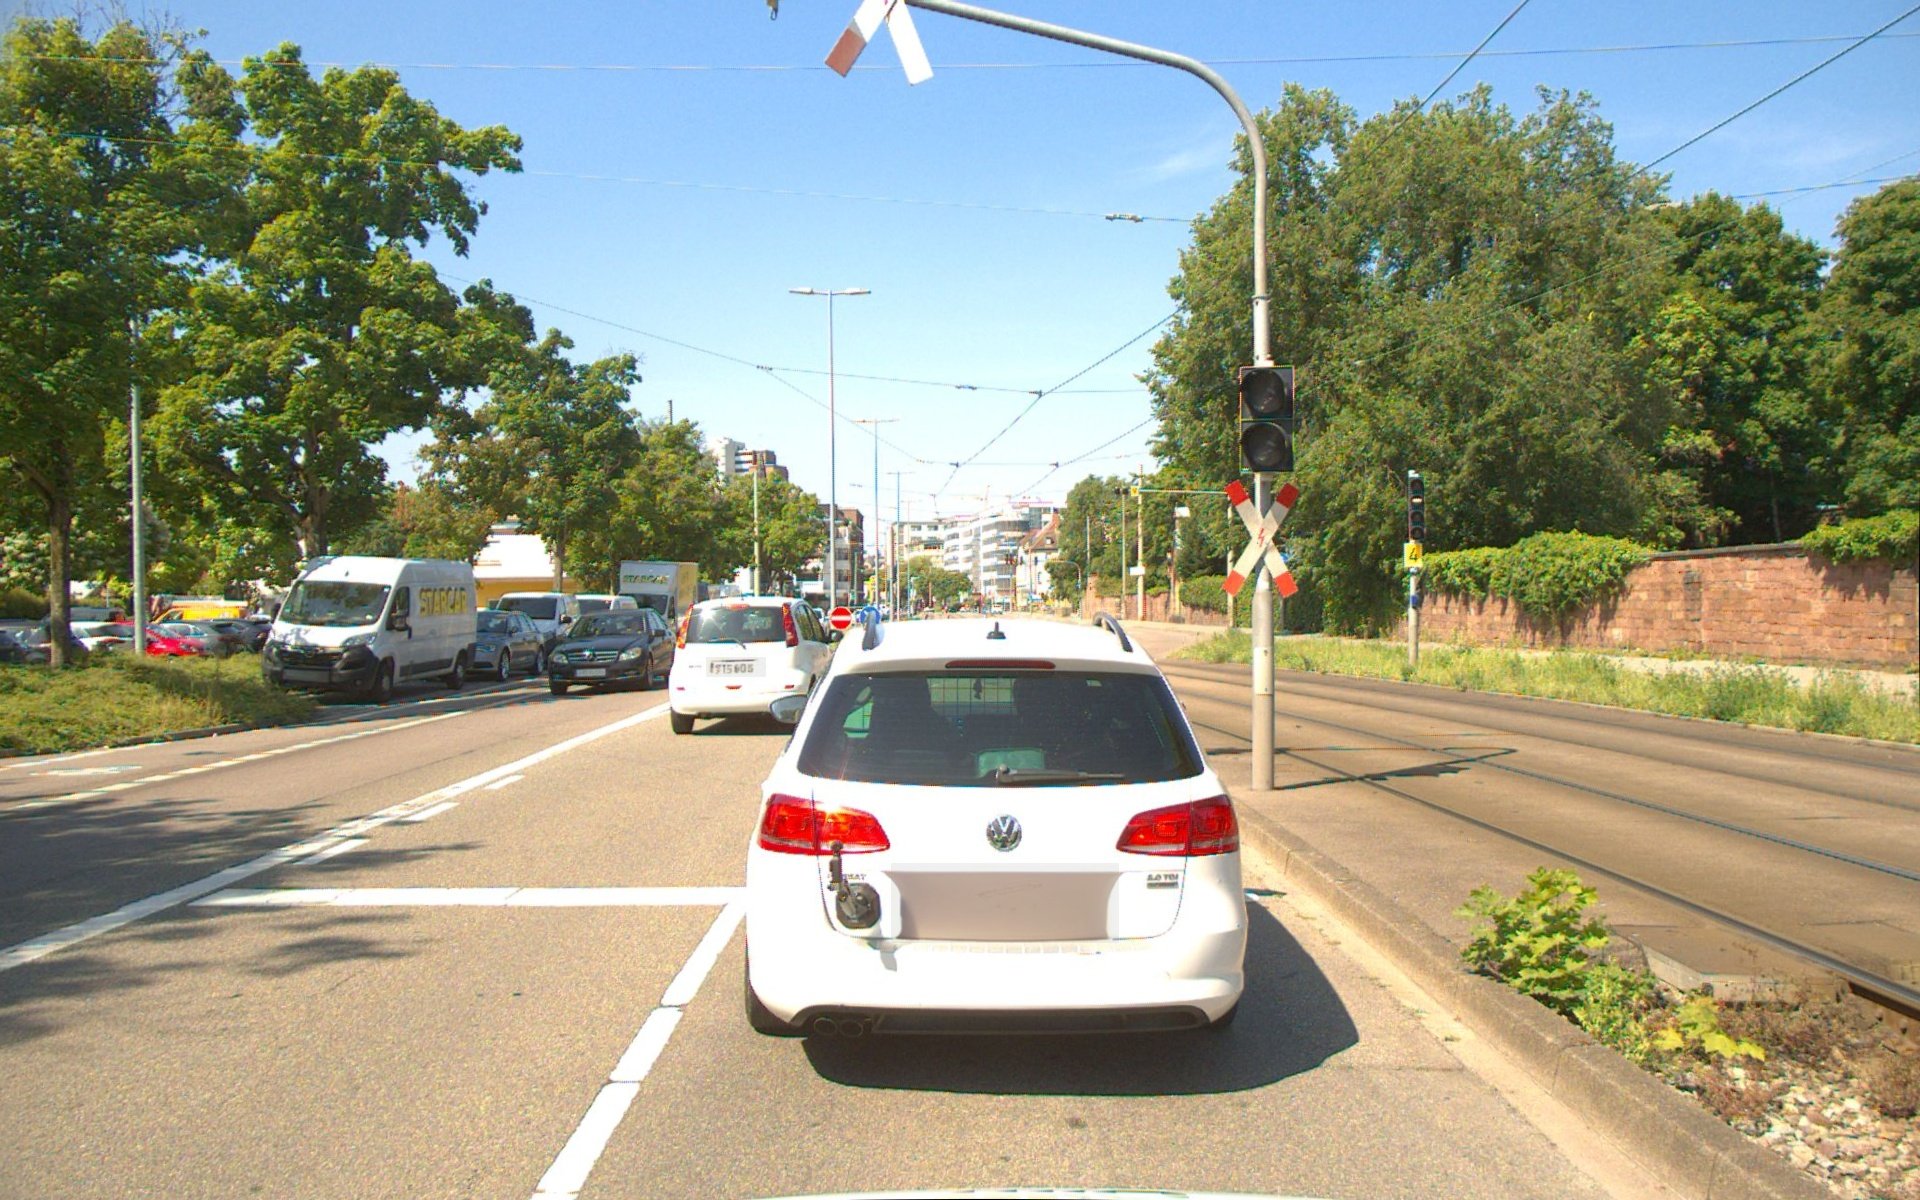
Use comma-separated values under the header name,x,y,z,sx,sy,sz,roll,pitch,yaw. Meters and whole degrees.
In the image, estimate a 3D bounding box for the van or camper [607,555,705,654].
name,x,y,z,sx,sy,sz,roll,pitch,yaw
van or camper,-10.647,0.144,58.473,2.151,3.298,6.772,1,0,0

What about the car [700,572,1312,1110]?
name,x,y,z,sx,sy,sz,roll,pitch,yaw
car,0.130,0.696,6.717,1.742,1.516,3.846,1,0,0

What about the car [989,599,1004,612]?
name,x,y,z,sx,sy,sz,roll,pitch,yaw
car,5.785,0.897,261.961,2.083,2.049,5.282,-1,0,-1

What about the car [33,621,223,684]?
name,x,y,z,sx,sy,sz,roll,pitch,yaw
car,-21.117,1.316,42.076,3.906,1.434,1.732,-1,0,-2

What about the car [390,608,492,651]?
name,x,y,z,sx,sy,sz,roll,pitch,yaw
car,-22.481,1.283,71.755,3.907,1.724,1.662,-1,0,-3

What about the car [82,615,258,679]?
name,x,y,z,sx,sy,sz,roll,pitch,yaw
car,-21.278,1.246,44.637,3.906,1.571,1.663,-1,0,-2

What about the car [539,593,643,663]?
name,x,y,z,sx,sy,sz,roll,pitch,yaw
car,-11.115,0.803,50.180,2.152,1.974,5.182,-1,0,-3

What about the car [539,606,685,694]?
name,x,y,z,sx,sy,sz,roll,pitch,yaw
car,-6.277,0.856,30.293,1.749,1.434,4.304,-1,0,0

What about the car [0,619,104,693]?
name,x,y,z,sx,sy,sz,roll,pitch,yaw
car,-21.584,1.260,37.027,3.906,1.571,1.663,-2,0,-2

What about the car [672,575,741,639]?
name,x,y,z,sx,sy,sz,roll,pitch,yaw
car,-11.135,0.309,73.115,2.151,2.676,5.978,1,0,-1

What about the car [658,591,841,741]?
name,x,y,z,sx,sy,sz,roll,pitch,yaw
car,-2.438,0.720,20.016,1.695,1.624,4.011,0,0,0

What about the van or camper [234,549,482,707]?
name,x,y,z,sx,sy,sz,roll,pitch,yaw
van or camper,-10.845,0.456,30.423,2.211,2.558,6.147,-1,0,1

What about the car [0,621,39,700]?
name,x,y,z,sx,sy,sz,roll,pitch,yaw
car,-21.264,1.277,33.766,3.907,1.571,1.662,-2,0,-3

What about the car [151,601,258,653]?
name,x,y,z,sx,sy,sz,roll,pitch,yaw
car,-34.091,1.196,74.720,3.909,2.238,1.909,-1,0,-5

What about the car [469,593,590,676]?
name,x,y,z,sx,sy,sz,roll,pitch,yaw
car,-11.134,0.837,43.175,2.153,1.974,5.179,-1,0,-5

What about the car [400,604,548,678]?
name,x,y,z,sx,sy,sz,roll,pitch,yaw
car,-10.714,0.859,36.837,1.893,1.480,4.884,-1,0,-1

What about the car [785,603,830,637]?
name,x,y,z,sx,sy,sz,roll,pitch,yaw
car,-7.016,0.897,76.289,1.692,1.491,4.000,-1,0,0

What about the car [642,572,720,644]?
name,x,y,z,sx,sy,sz,roll,pitch,yaw
car,-11.130,0.312,66.399,2.151,2.715,6.079,1,0,-1

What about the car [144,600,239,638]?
name,x,y,z,sx,sy,sz,roll,pitch,yaw
car,-47.569,1.184,102.414,4.832,2.212,2.099,-1,0,-4

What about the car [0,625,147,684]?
name,x,y,z,sx,sy,sz,roll,pitch,yaw
car,-21.707,1.291,39.358,3.836,1.293,1.663,-2,0,-2

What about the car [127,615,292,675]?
name,x,y,z,sx,sy,sz,roll,pitch,yaw
car,-21.467,1.263,47.400,3.906,1.571,1.663,-2,0,-2

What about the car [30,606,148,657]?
name,x,y,z,sx,sy,sz,roll,pitch,yaw
car,-36.651,1.305,69.679,3.909,2.038,1.909,-1,0,-5
